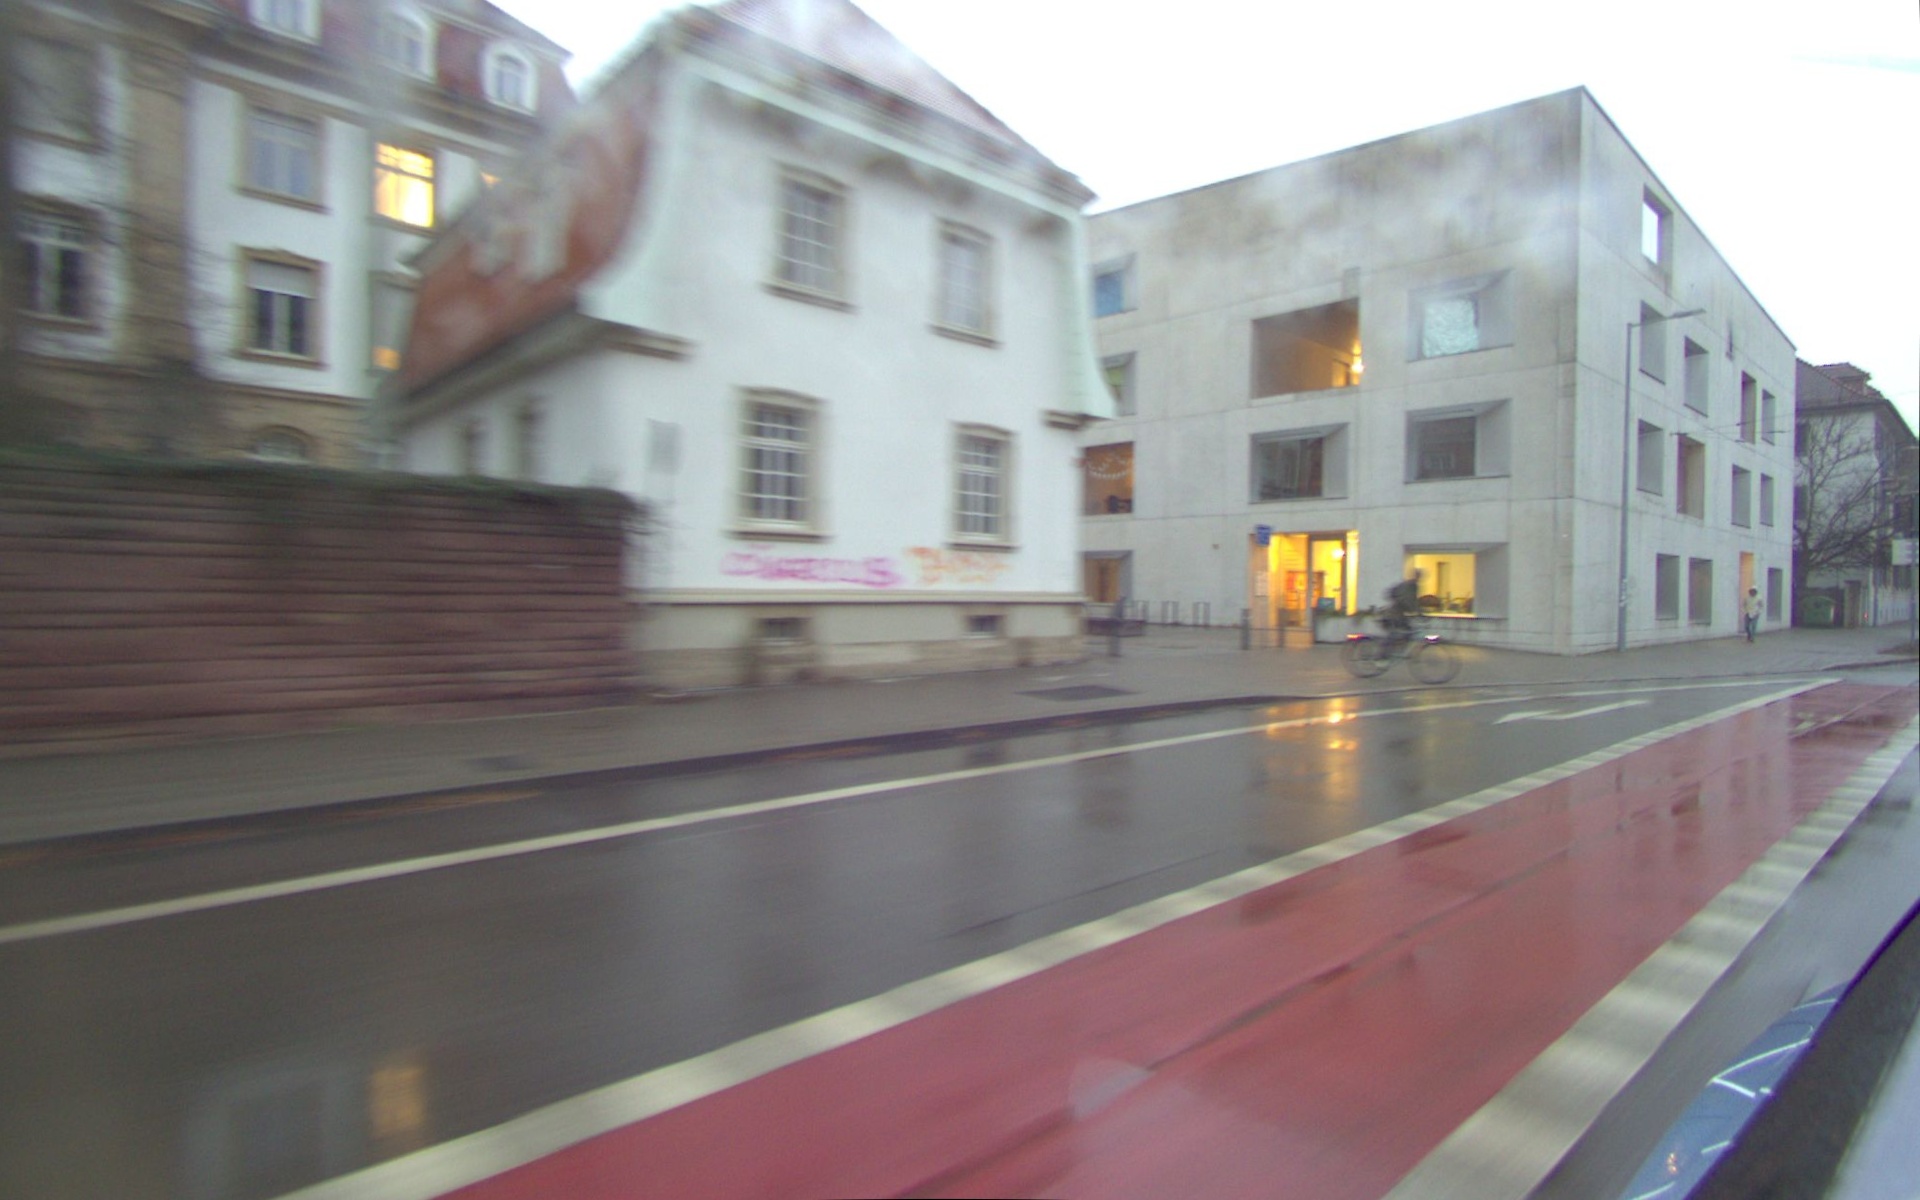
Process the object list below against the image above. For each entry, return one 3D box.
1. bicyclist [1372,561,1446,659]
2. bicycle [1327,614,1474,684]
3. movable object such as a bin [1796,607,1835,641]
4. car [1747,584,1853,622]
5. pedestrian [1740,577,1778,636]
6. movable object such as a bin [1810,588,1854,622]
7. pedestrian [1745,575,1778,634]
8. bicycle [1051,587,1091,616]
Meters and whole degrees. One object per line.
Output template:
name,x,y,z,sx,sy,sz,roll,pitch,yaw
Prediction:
bicyclist,7.662,0.156,17.284,0.766,1.615,0.856,0,2,-37
bicycle,7.595,0.815,17.530,0.927,0.955,2.122,0,4,-38
movable object such as a bin,39.730,1.091,47.002,1.395,1.463,1.257,0,2,-44
car,37.931,0.136,45.751,1.702,1.668,3.454,0,0,-42
pedestrian,26.109,0.201,33.080,0.705,1.881,0.773,0,2,-40
movable object such as a bin,38.594,0.215,44.792,1.394,1.463,1.258,0,2,-42
pedestrian,26.149,0.146,33.030,0.648,1.882,0.657,0,2,-40
bicycle,3.887,0.053,35.388,1.527,0.992,0.408,0,1,-39
